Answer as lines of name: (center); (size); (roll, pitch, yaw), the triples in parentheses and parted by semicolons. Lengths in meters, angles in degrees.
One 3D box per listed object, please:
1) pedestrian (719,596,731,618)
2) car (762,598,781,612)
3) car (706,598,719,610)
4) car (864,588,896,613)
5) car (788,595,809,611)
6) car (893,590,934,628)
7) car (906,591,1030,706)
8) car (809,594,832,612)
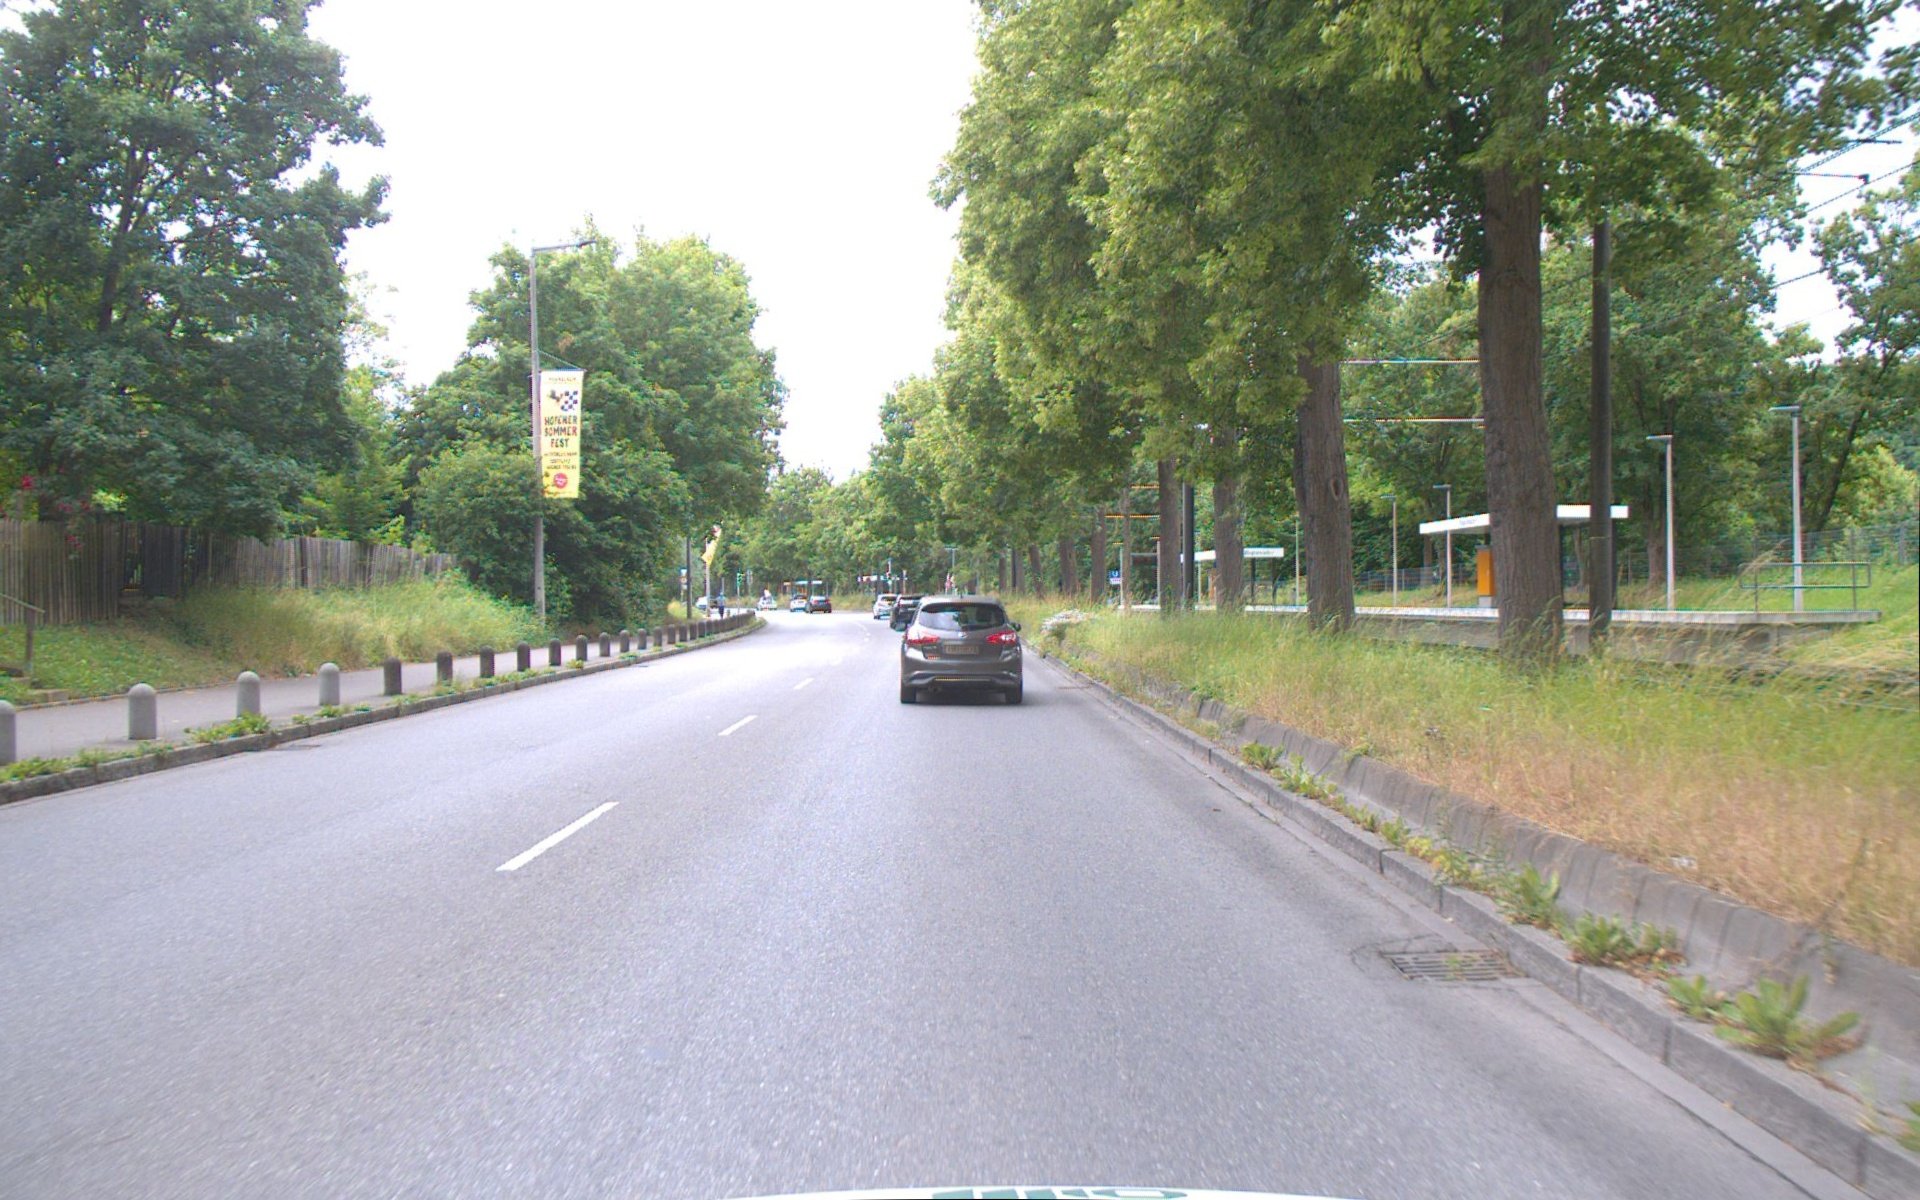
pedestrian: (-15.524, 0.468, 109.276); (0.707, 1.392, 0.653); (1, 0, -9)
car: (-20.118, 0.504, 176.566); (1.536, 1.466, 3.537); (1, 0, -15)
car: (-31.133, 0.529, 208.079); (1.533, 1.466, 3.542); (1, 0, -11)
car: (-4.908, 0.004, 101.029); (1.533, 1.466, 3.544); (1, 0, -10)
car: (-15.083, 0.254, 154.616); (1.534, 1.466, 3.541); (1, 0, -12)
car: (-2.016, 0.376, 71.549); (1.695, 1.564, 3.550); (1, 0, -2)
car: (0.065, 0.656, 24.524); (1.695, 1.564, 3.550); (1, 0, -2)
car: (-11.755, 0.271, 139.534); (1.534, 1.466, 3.541); (1, 0, -12)
